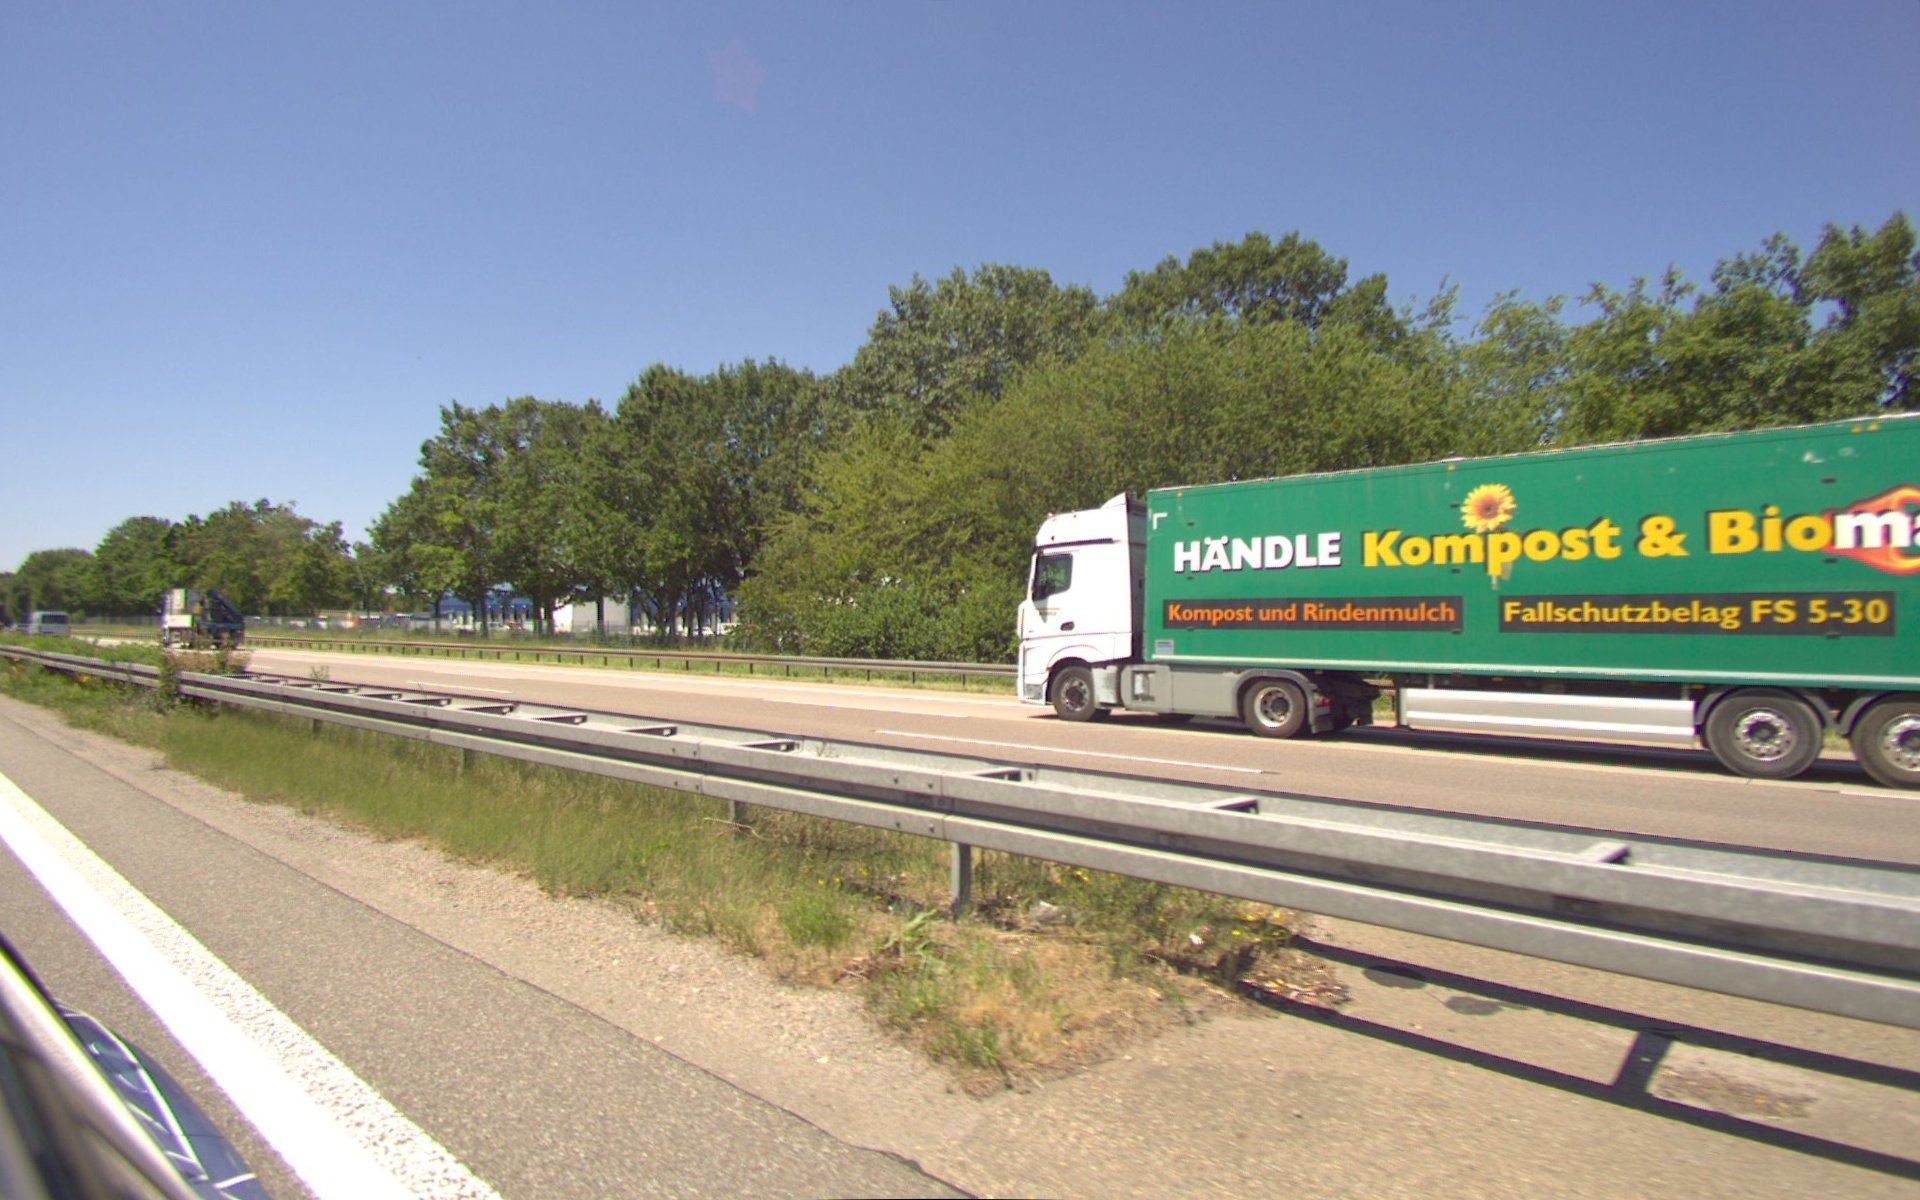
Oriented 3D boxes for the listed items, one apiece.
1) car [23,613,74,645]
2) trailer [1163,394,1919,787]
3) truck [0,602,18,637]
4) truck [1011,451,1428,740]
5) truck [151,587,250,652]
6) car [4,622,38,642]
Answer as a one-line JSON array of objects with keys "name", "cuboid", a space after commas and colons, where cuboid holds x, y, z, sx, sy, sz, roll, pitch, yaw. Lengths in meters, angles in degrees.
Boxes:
[{"name": "car", "cuboid": [-71.149, 2.276, 78.965, 5.602, 2.305, 2.287, -1, -4, 42]}, {"name": "trailer", "cuboid": [9.363, -0.012, 12.883, 13.674, 4.075, 2.847, -1, -4, 41]}, {"name": "truck", "cuboid": [-134.248, 2.716, 139.904, 11.969, 4.641, 4.374, -1, 0, 40]}, {"name": "truck", "cuboid": [4.273, 0.038, 17.411, 6.329, 4.075, 2.847, -1, -4, 41]}, {"name": "truck", "cuboid": [-47.655, 1.212, 63.362, 9.596, 3.820, 2.973, -1, -2, 41]}, {"name": "car", "cuboid": [-84.840, 2.927, 91.406, 3.780, 1.718, 1.891, -2, -5, 43]}]
